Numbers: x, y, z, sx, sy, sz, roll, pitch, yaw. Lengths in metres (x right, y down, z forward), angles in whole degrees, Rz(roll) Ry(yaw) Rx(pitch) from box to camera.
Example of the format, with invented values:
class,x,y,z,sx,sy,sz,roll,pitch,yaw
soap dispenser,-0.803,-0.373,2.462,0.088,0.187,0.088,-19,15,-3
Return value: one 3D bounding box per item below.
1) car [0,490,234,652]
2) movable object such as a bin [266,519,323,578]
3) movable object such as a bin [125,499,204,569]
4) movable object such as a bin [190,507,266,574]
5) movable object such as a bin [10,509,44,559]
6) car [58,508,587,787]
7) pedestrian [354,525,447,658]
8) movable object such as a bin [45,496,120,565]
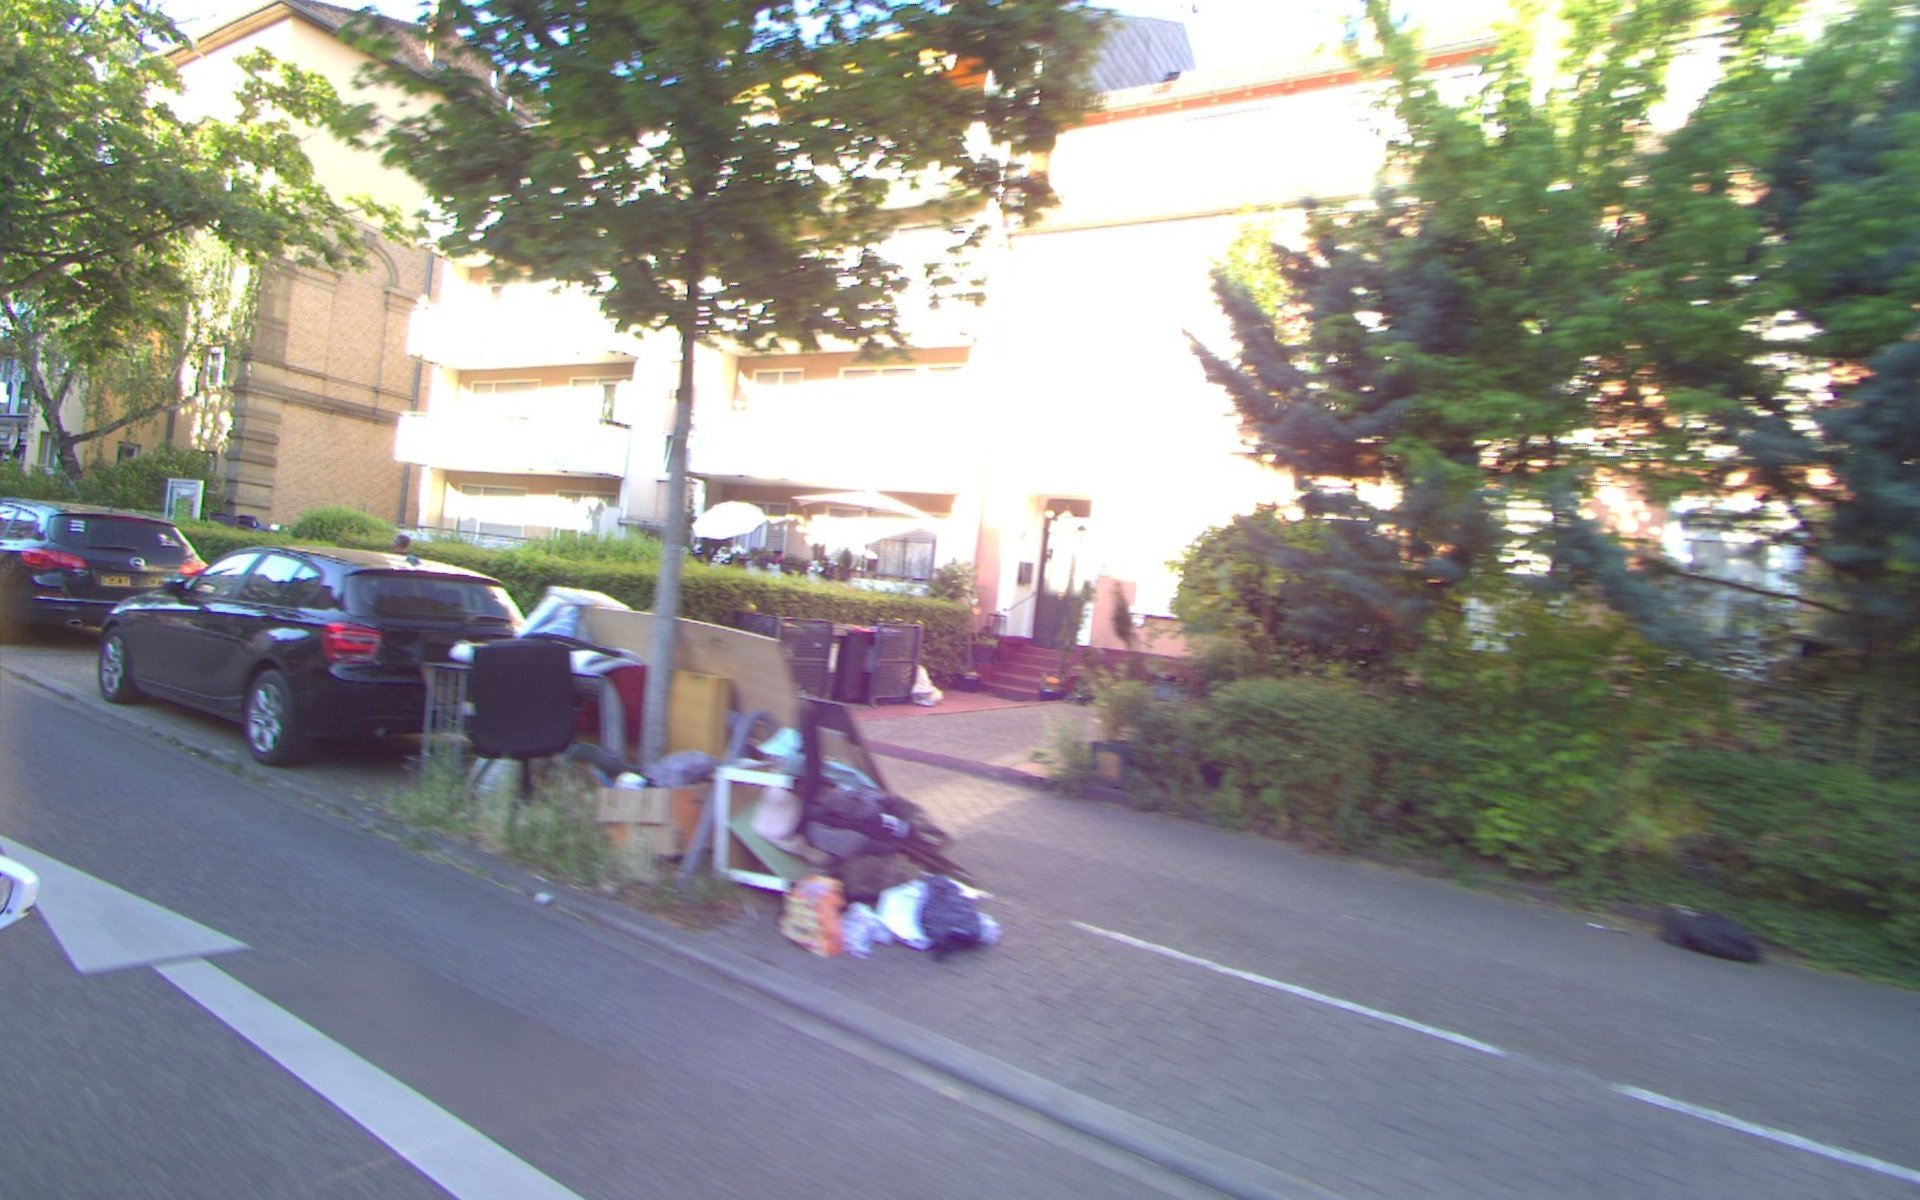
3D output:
class,x,y,z,sx,sy,sz,roll,pitch,yaw
car,-10.413,-0.433,11.525,4.357,1.491,1.718,7,1,31
movable object such as a bin,-18.436,-1.431,27.904,1.130,1.459,0.987,6,1,-30
movable object such as a bin,-20.230,-1.669,25.598,0.976,1.575,1.158,7,1,23
movable object such as a bin,-19.376,-1.571,26.645,0.976,1.575,1.158,7,1,23
movable object such as a bin,-21.611,-1.530,23.297,0.541,1.072,0.492,7,1,45
car,-5.196,0.234,8.015,4.410,1.467,1.771,7,1,32
pedestrian,-7.325,-0.097,13.180,0.570,1.636,0.747,7,1,30
movable object such as a bin,-21.122,-1.675,24.218,1.248,1.459,0.982,6,1,-43
